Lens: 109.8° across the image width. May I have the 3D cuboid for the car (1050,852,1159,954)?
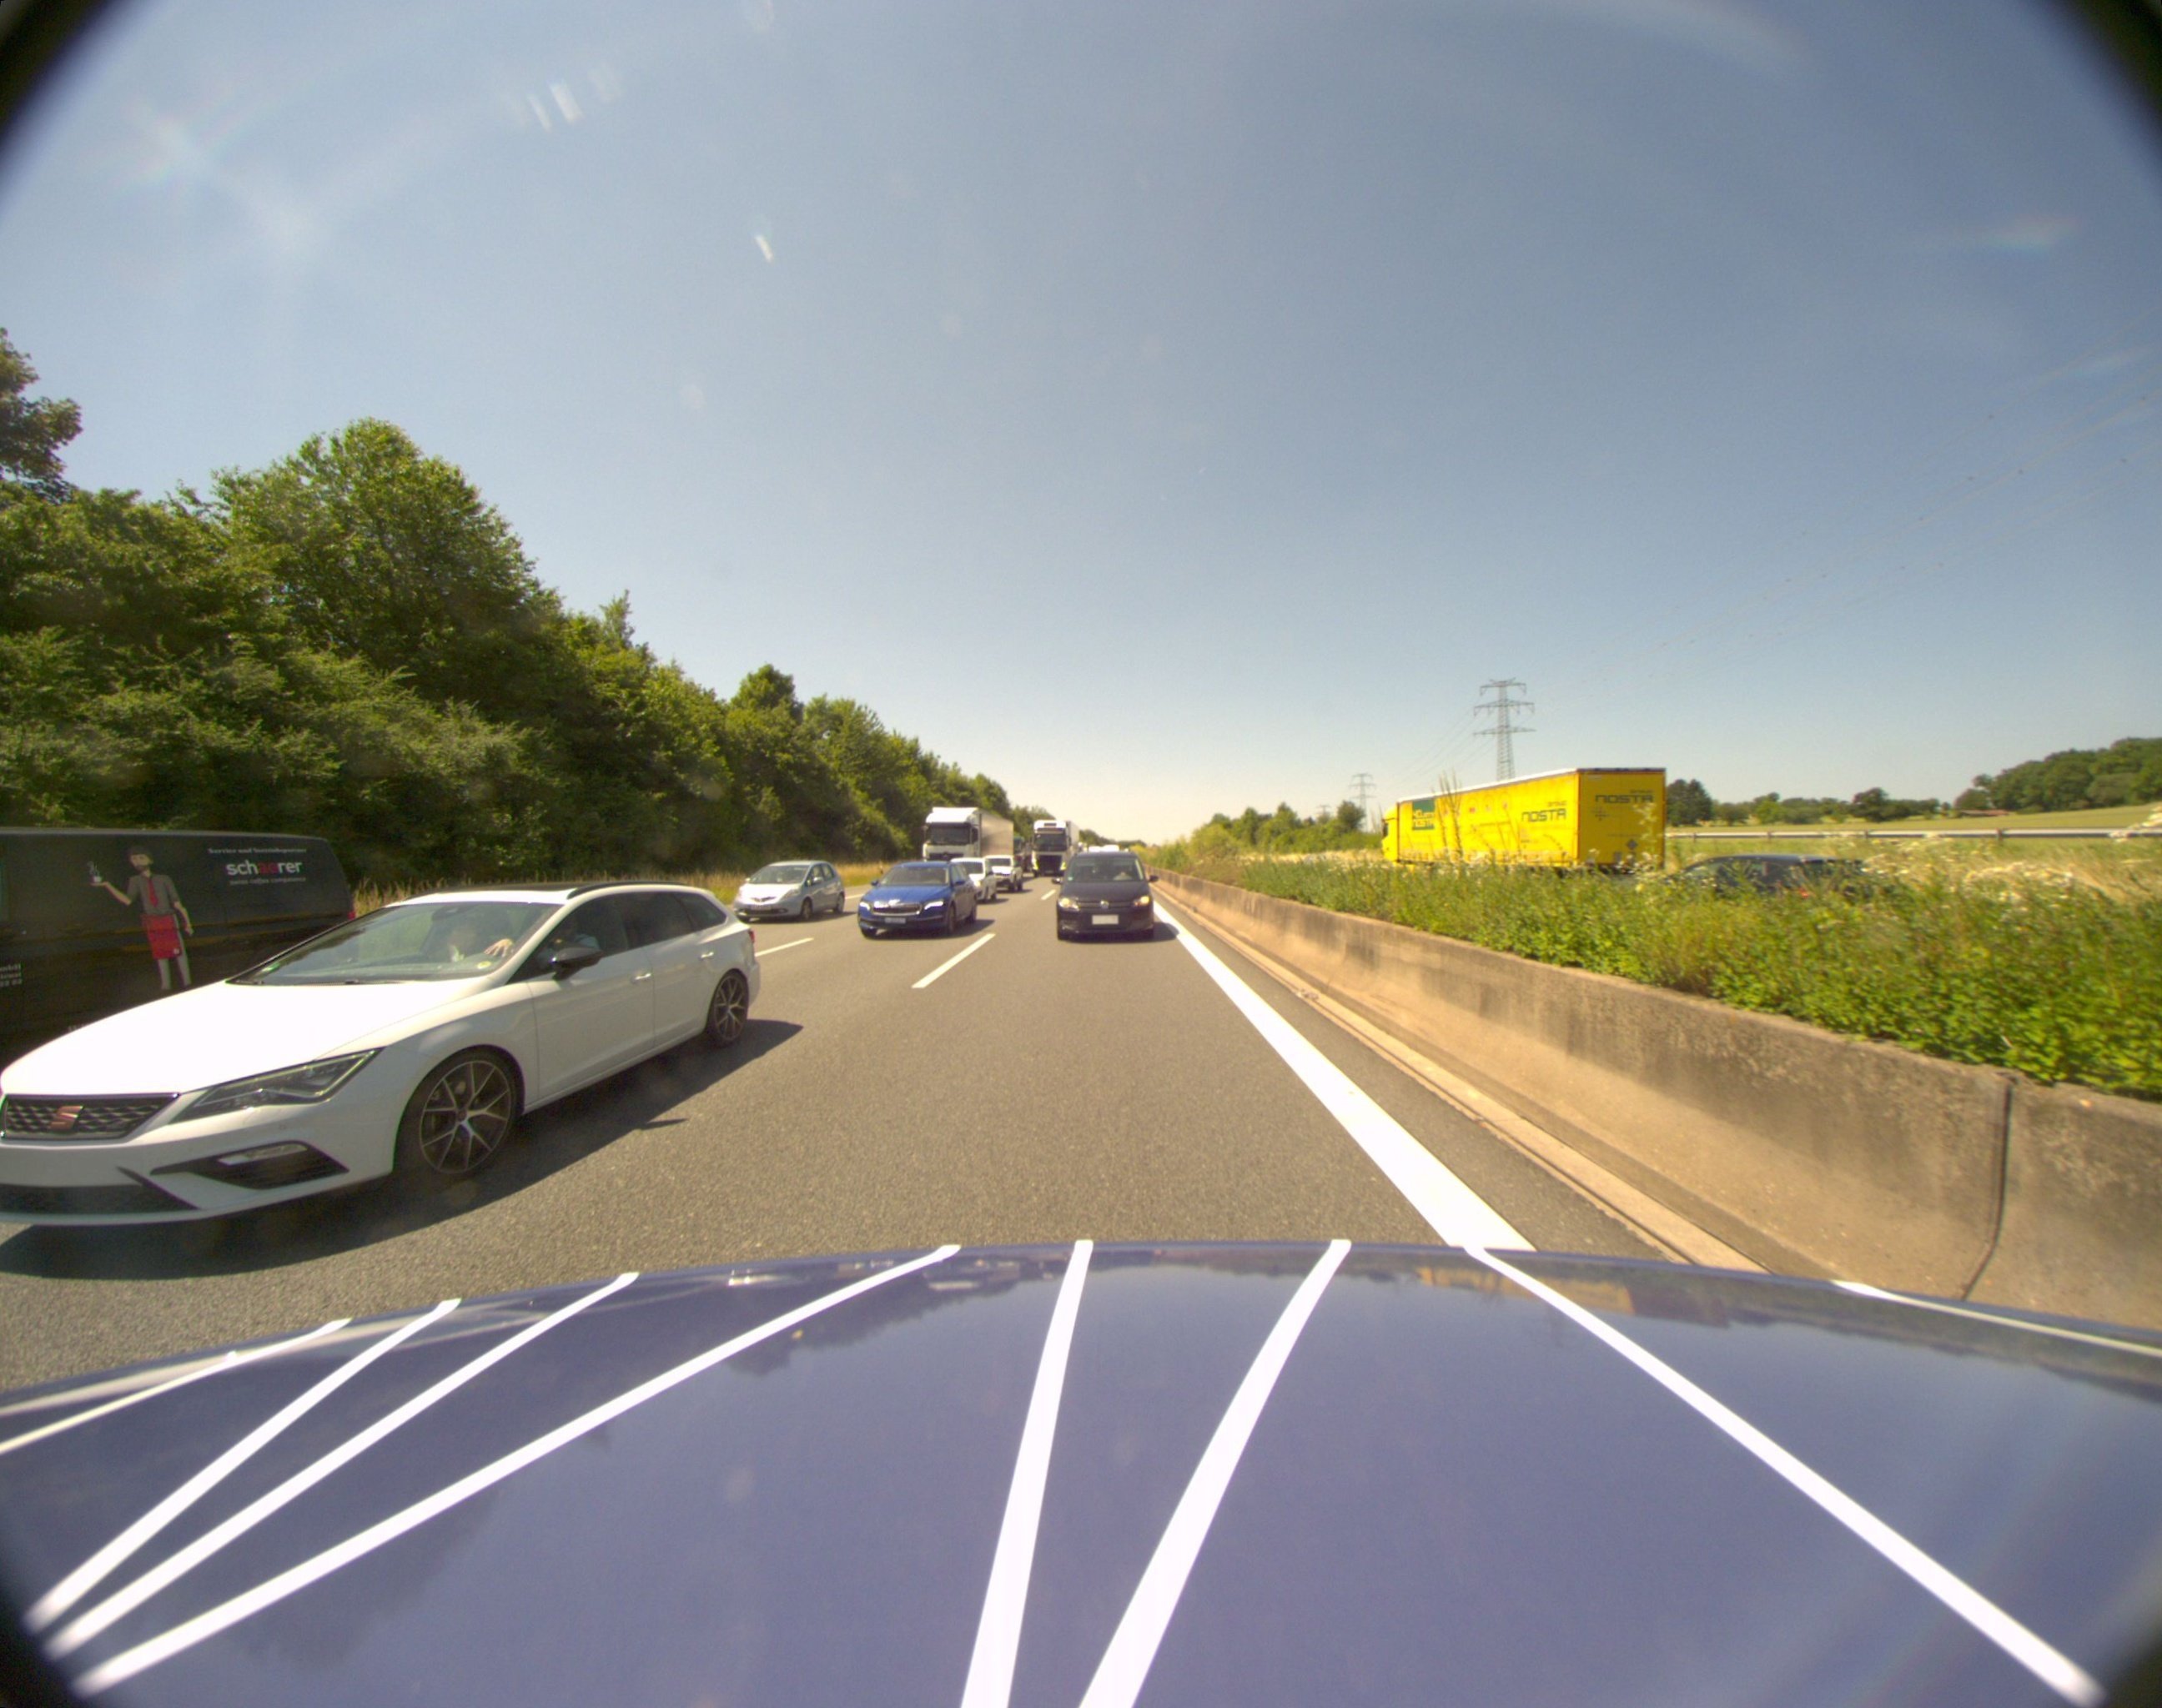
[{"bbox_3d":[0.493,0.810,15.186,1.758,1.571,5.291,-1,1,2],"label":"car"}]

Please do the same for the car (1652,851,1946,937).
[{"bbox_3d":[11.472,0.563,12.487,1.679,1.124,3.342,-3,1,1],"label":"car"}]

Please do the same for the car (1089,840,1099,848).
[{"bbox_3d":[3.158,-2.422,183.423,1.998,2.002,4.000,-2,1,3],"label":"car"}]

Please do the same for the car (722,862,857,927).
[{"bbox_3d":[-7.439,0.969,19.818,1.665,1.453,3.923,0,0,6],"label":"car"}]

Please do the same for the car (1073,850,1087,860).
[{"bbox_3d":[-0.102,0.147,103.196,1.650,1.336,3.381,-2,1,3],"label":"car"}]

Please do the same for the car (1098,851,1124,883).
[{"bbox_3d":[1.720,0.714,43.433,1.357,1.630,2.994,-3,1,3],"label":"car"}]

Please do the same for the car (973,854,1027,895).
[{"bbox_3d":[-3.361,0.803,32.186,1.748,1.549,3.884,0,1,2],"label":"car"}]

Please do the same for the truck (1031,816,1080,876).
[{"bbox_3d":[-1.762,-0.585,55.897,2.750,3.972,8.361,-2,1,3],"label":"truck"}]

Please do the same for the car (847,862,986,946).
[{"bbox_3d":[-3.307,0.943,16.217,1.780,1.408,4.572,0,1,2],"label":"car"}]

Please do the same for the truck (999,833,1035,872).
[{"bbox_3d":[-5.438,-0.138,65.516,2.299,3.128,5.675,-2,1,3],"label":"truck"}]

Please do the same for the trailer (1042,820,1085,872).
[{"bbox_3d":[-1.350,-0.665,63.574,2.776,3.951,9.156,-2,1,3],"label":"trailer"}]

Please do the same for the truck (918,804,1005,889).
[{"bbox_3d":[-6.361,-0.430,41.875,2.879,4.133,8.476,-2,1,3],"label":"truck"}]

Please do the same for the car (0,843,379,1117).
[{"bbox_3d":[-8.620,0.910,5.743,1.918,1.929,4.856,-1,1,2],"label":"car"}]

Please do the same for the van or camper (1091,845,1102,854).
[{"bbox_3d":[3.336,-1.006,165.484,2.189,2.018,4.364,-2,1,3],"label":"van or camper"}]

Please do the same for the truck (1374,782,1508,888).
[{"bbox_3d":[16.240,-0.842,34.934,2.785,4.212,7.324,-3,1,2],"label":"truck"}]

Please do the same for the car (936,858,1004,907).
[{"bbox_3d":[-3.662,0.902,25.573,1.609,1.426,3.809,0,1,2],"label":"car"}]

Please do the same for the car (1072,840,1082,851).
[{"bbox_3d":[-0.801,-1.765,157.291,1.998,2.002,4.000,-2,1,2],"label":"car"}]

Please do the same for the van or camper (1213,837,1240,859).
[{"bbox_3d":[19.999,-0.865,104.940,2.558,2.822,7.067,-3,1,3],"label":"van or camper"}]

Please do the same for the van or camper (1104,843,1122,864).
[{"bbox_3d":[3.887,-0.051,91.200,1.956,2.368,4.037,-3,1,3],"label":"van or camper"}]

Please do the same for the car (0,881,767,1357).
[{"bbox_3d":[-3.850,1.023,4.824,1.752,1.435,4.313,-1,1,2],"label":"car"}]

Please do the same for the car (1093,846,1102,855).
[{"bbox_3d":[3.275,-0.622,147.633,1.652,1.636,4.000,-2,1,3],"label":"car"}]

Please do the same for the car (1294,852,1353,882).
[{"bbox_3d":[12.619,0.650,39.805,1.874,1.457,4.099,-2,0,2],"label":"car"}]

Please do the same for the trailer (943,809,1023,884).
[{"bbox_3d":[-5.994,-0.500,49.072,2.879,4.132,12.076,-2,1,3],"label":"trailer"}]

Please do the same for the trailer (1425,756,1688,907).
[{"bbox_3d":[15.988,-0.734,27.022,2.828,4.182,10.685,-3,1,2],"label":"trailer"}]
